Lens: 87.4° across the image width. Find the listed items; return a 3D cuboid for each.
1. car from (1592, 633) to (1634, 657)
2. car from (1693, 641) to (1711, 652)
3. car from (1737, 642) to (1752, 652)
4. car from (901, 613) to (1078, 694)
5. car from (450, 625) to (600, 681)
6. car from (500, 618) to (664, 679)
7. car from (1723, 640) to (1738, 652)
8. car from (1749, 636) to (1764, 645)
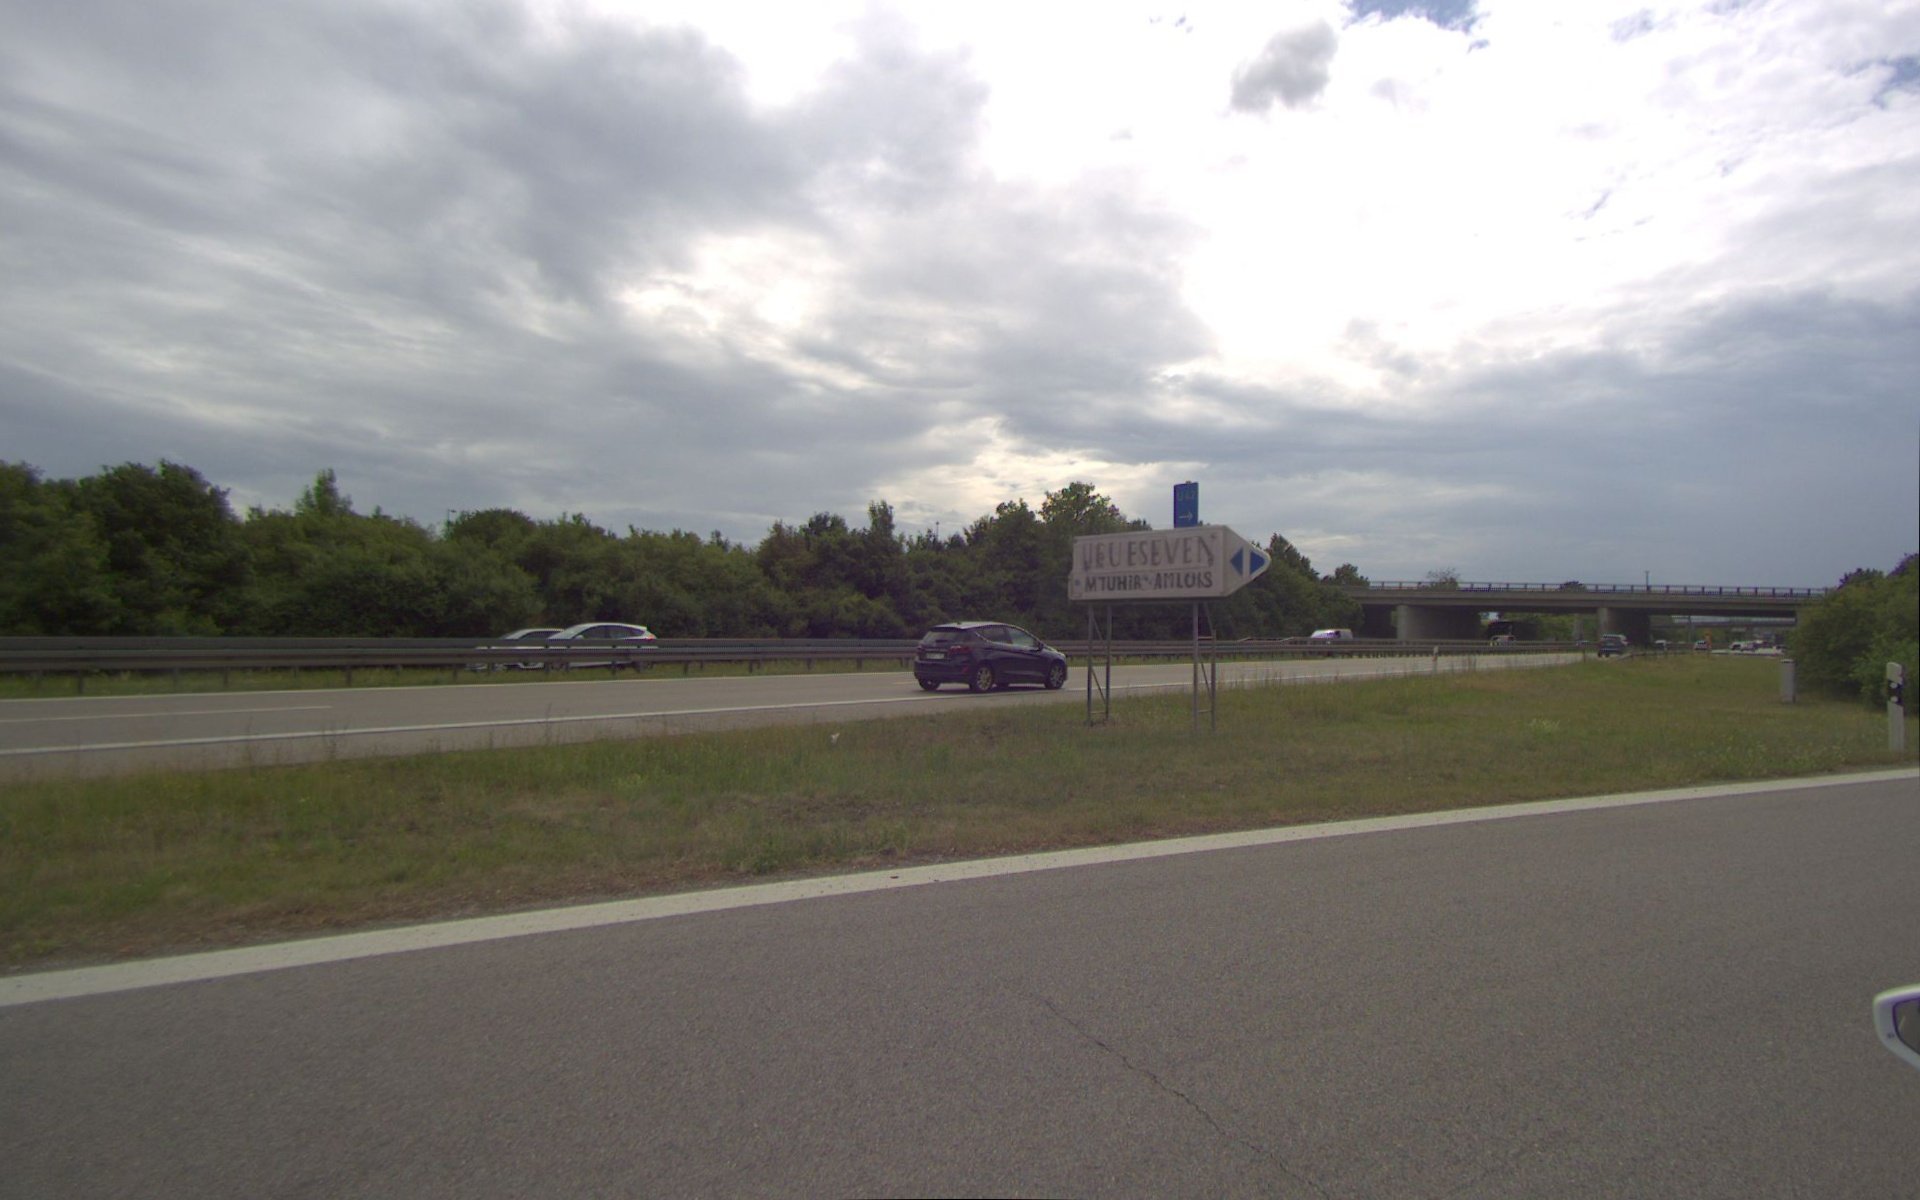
[{"bbox_3d":[51.903,3.571,79.787,1.972,1.785,4.896,0,-2,43],"label":"car"},{"bbox_3d":[108.704,6.810,147.145,1.815,1.472,4.357,0,-2,41],"label":"car"},{"bbox_3d":[123.386,7.339,158.020,1.697,1.539,3.981,0,-2,40],"label":"car"},{"bbox_3d":[0.719,1.128,21.856,1.691,1.576,3.979,0,-2,42],"label":"car"},{"bbox_3d":[-13.969,1.676,32.384,1.971,1.650,3.979,0,-2,42],"label":"car"},{"bbox_3d":[-10.788,1.371,28.856,1.851,1.595,3.980,0,-2,41],"label":"car"},{"bbox_3d":[138.394,8.296,180.437,1.969,2.040,3.983,2,-1,39],"label":"car"},{"bbox_3d":[159.910,8.125,201.674,1.971,1.766,4.803,-1,-2,42],"label":"car"}]
